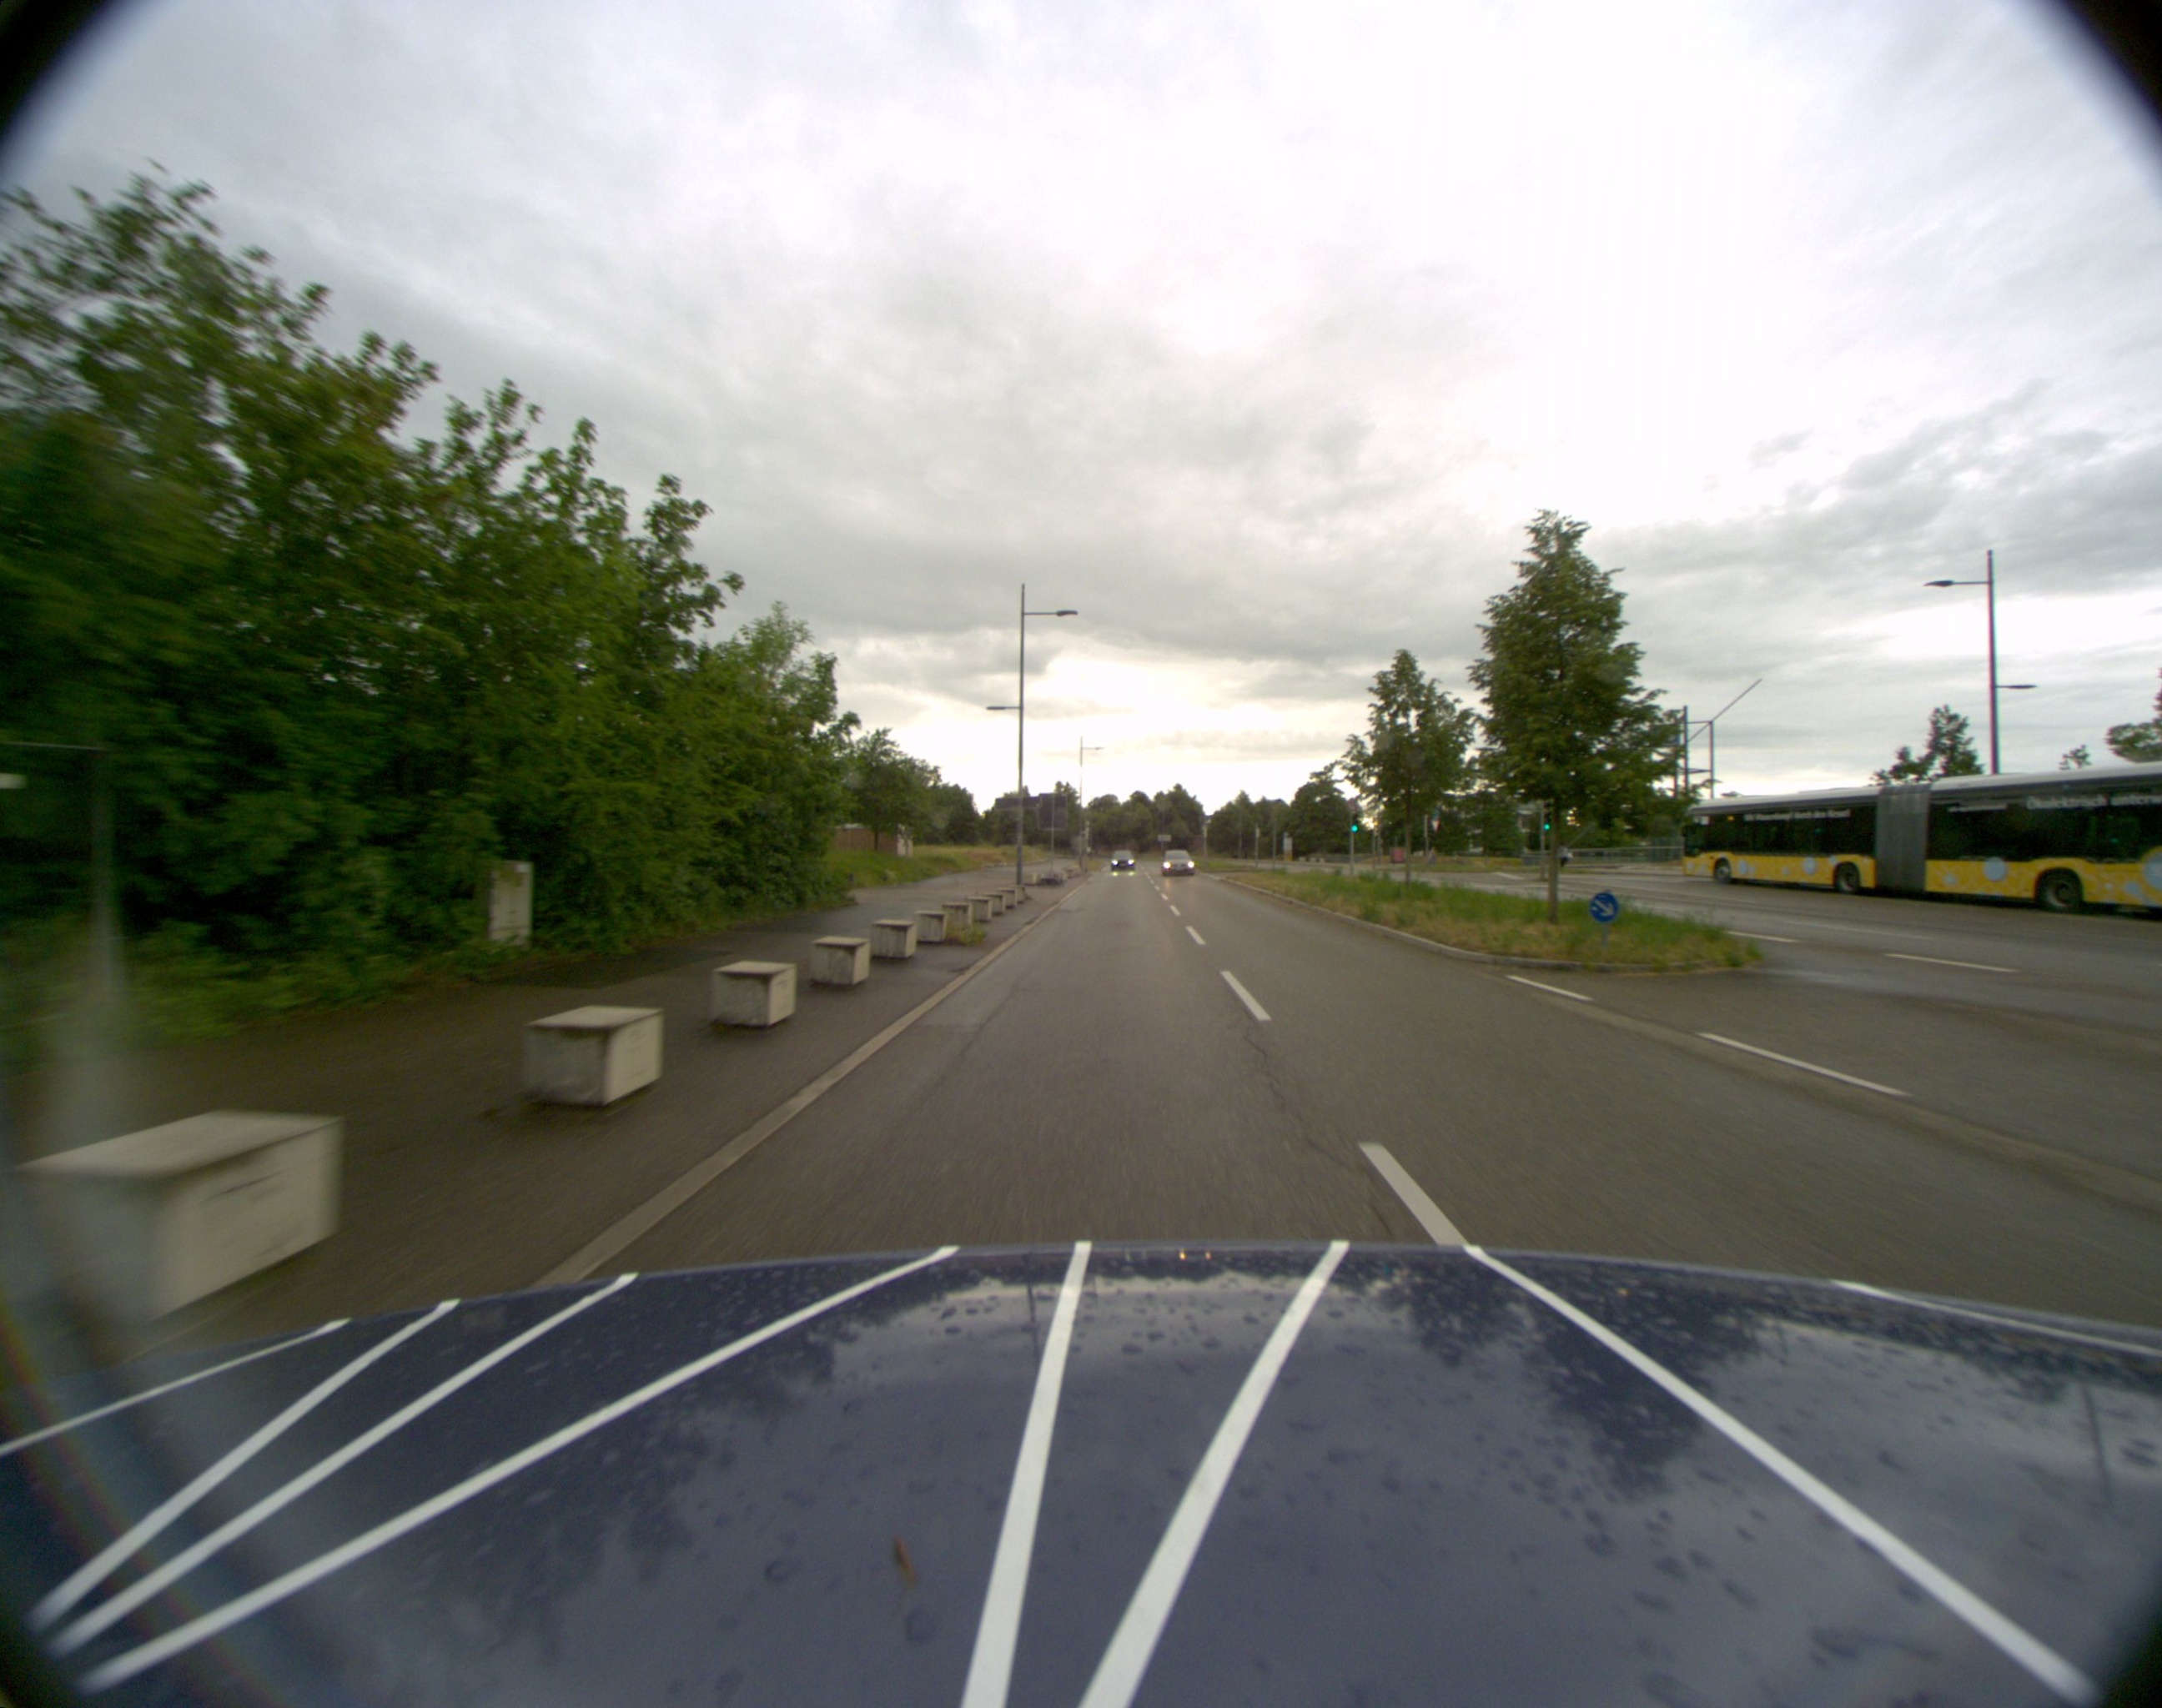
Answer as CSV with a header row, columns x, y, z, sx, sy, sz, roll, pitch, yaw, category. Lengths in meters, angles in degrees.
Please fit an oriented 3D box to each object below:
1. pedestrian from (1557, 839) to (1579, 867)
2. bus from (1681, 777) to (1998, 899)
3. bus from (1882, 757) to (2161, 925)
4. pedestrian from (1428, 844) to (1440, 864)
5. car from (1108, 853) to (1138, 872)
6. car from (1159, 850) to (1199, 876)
x,y,z,sx,sy,sz,roll,pitch,yaw,category
28.317,-0.036,44.162,0.822,1.584,0.673,0,-1,-13,pedestrian
25.772,-0.546,26.902,2.826,3.452,9.980,-1,1,11,bus
24.060,-0.348,17.914,2.826,3.452,8.236,-1,1,11,bus
29.106,0.026,62.621,0.616,1.584,0.813,0,-1,-1,pedestrian
3.162,0.676,57.786,1.990,1.391,4.176,0,-1,-1,car
5.696,0.506,44.599,1.810,1.421,4.197,-1,0,1,car
